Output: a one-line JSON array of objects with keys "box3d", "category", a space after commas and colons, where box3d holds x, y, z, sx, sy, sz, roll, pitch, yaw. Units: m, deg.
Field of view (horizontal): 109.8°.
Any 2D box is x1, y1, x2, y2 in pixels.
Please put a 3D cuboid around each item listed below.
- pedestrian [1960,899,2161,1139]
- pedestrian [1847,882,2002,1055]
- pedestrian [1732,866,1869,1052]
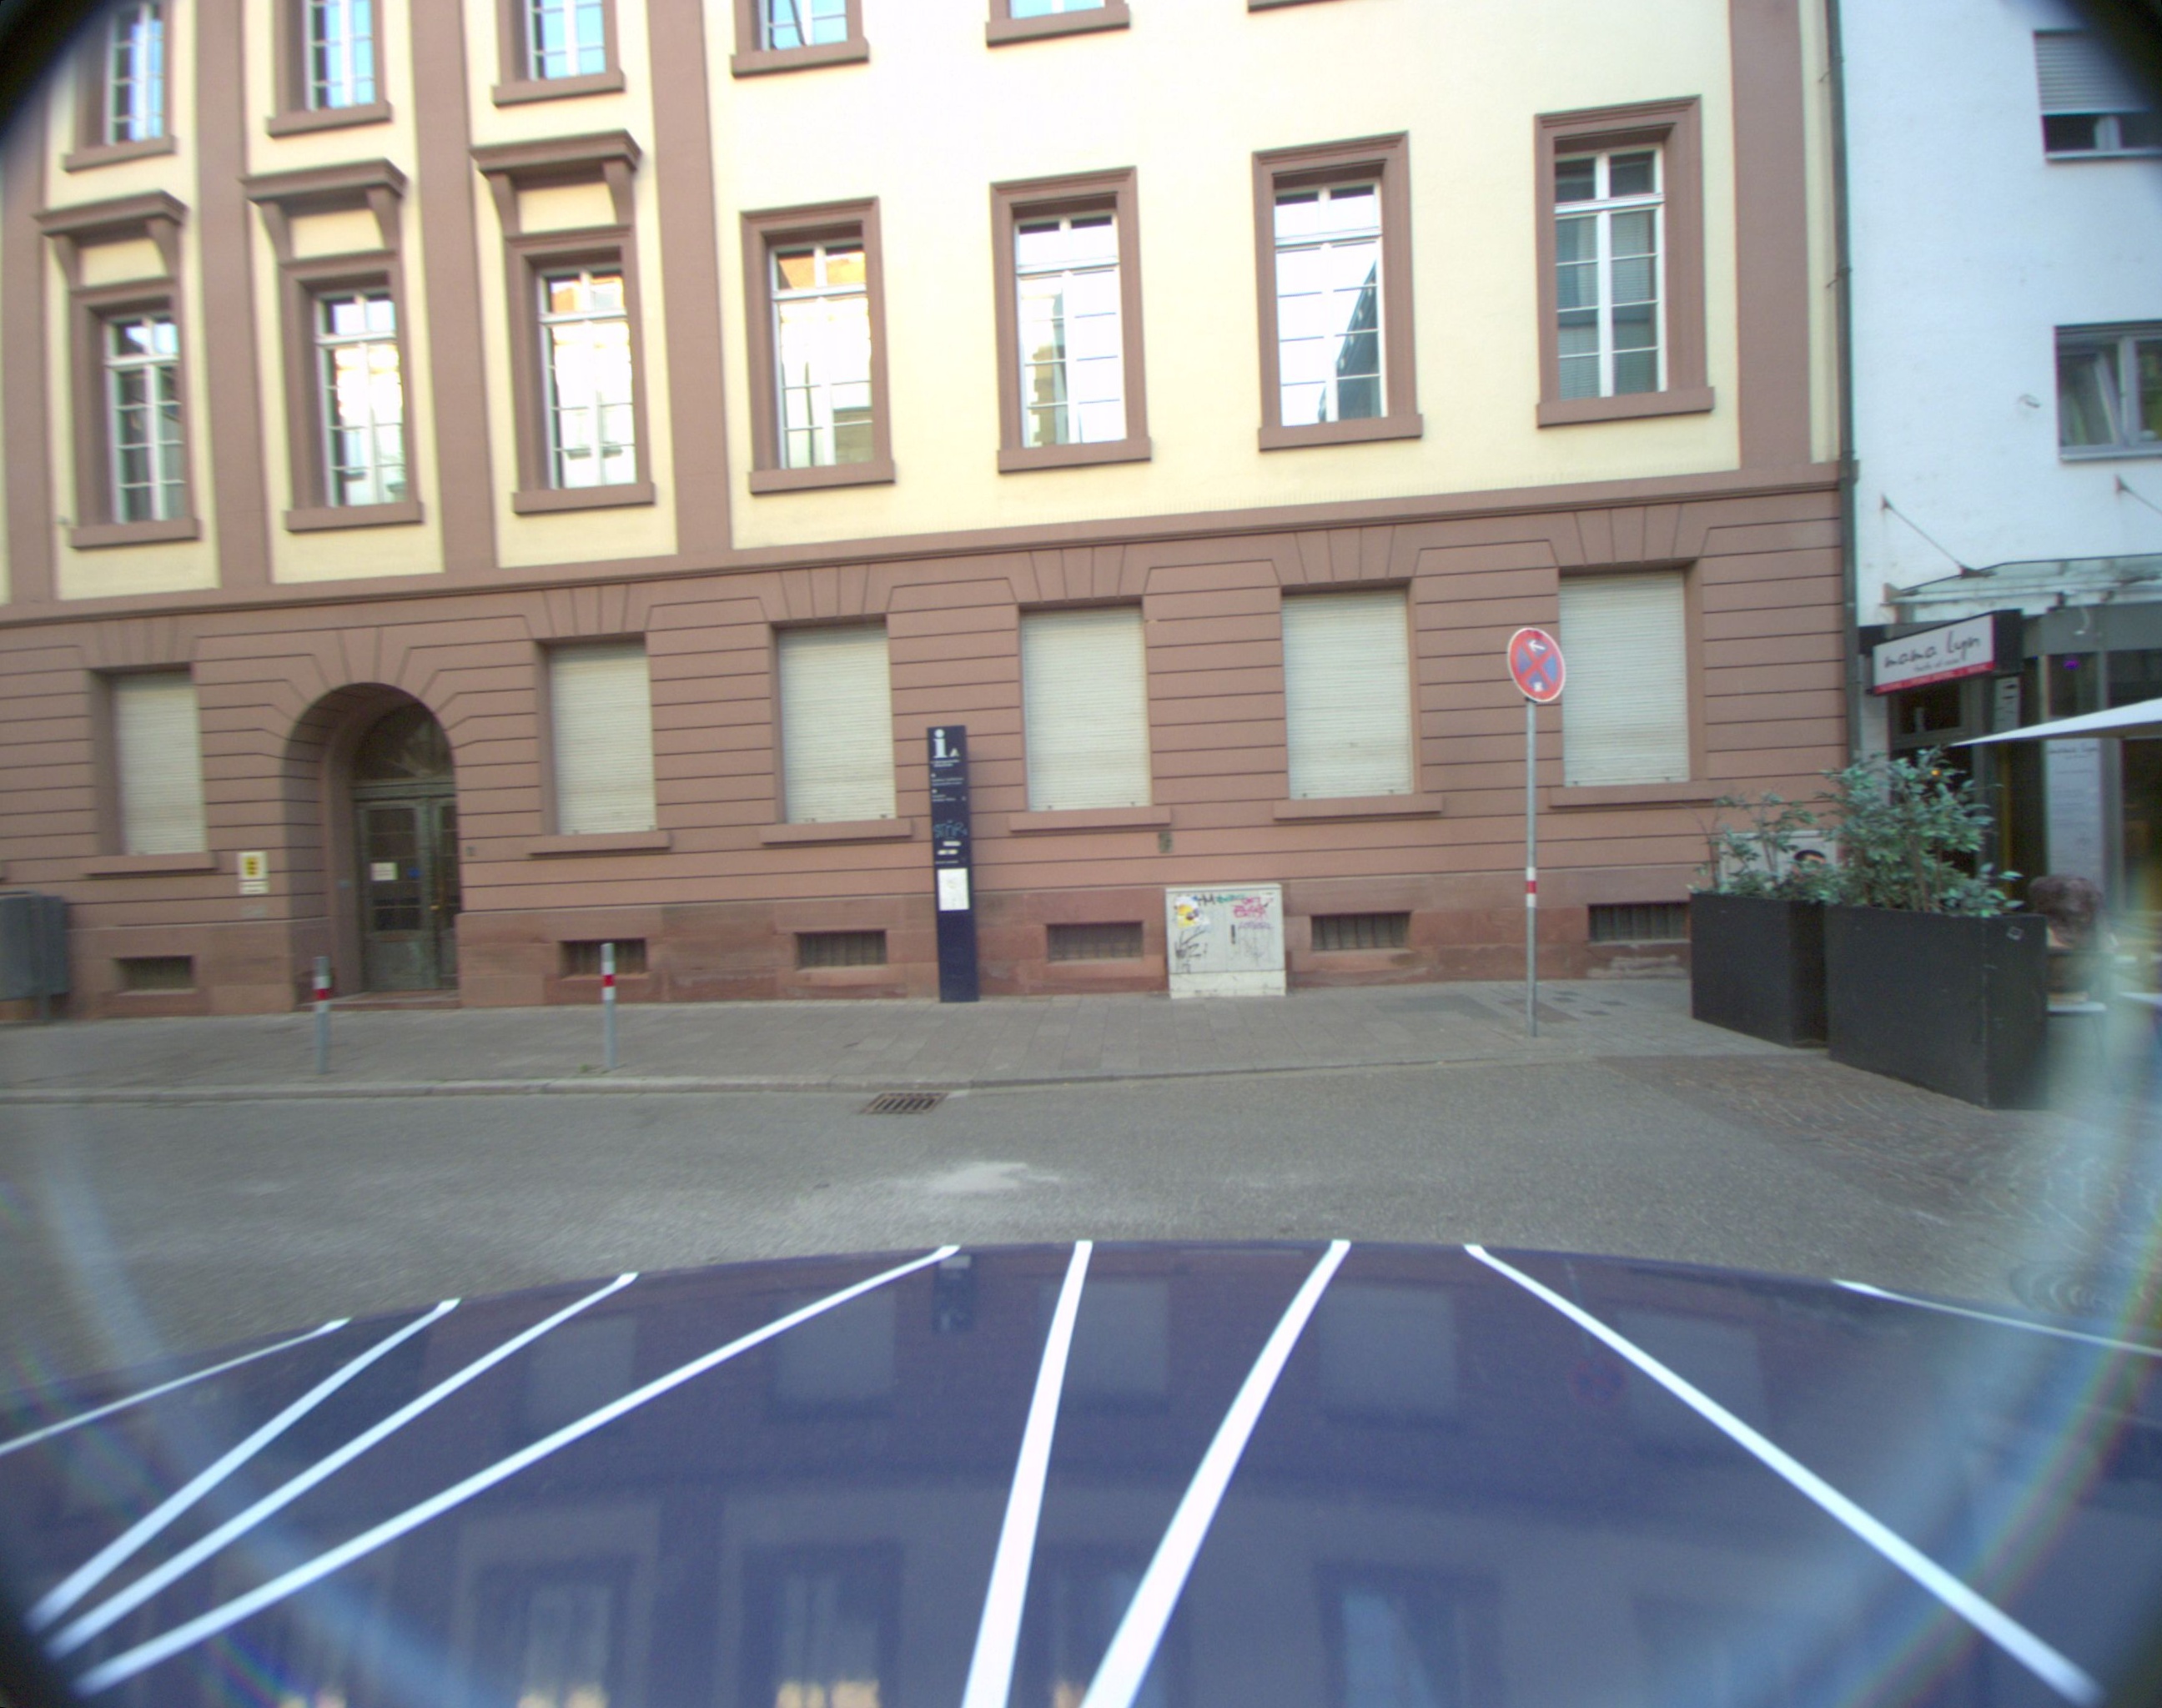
[{"box3d": [5.369, 0.873, 4.153, 0.561, 1.204, 0.461, -2, 1, 7], "category": "pedestrian"}, {"box3d": [6.290, 0.831, 5.691, 0.548, 1.204, 0.524, -2, 1, 7], "category": "pedestrian"}, {"box3d": [5.451, 0.773, 5.782, 0.548, 1.341, 0.489, -2, 1, 7], "category": "pedestrian"}]
